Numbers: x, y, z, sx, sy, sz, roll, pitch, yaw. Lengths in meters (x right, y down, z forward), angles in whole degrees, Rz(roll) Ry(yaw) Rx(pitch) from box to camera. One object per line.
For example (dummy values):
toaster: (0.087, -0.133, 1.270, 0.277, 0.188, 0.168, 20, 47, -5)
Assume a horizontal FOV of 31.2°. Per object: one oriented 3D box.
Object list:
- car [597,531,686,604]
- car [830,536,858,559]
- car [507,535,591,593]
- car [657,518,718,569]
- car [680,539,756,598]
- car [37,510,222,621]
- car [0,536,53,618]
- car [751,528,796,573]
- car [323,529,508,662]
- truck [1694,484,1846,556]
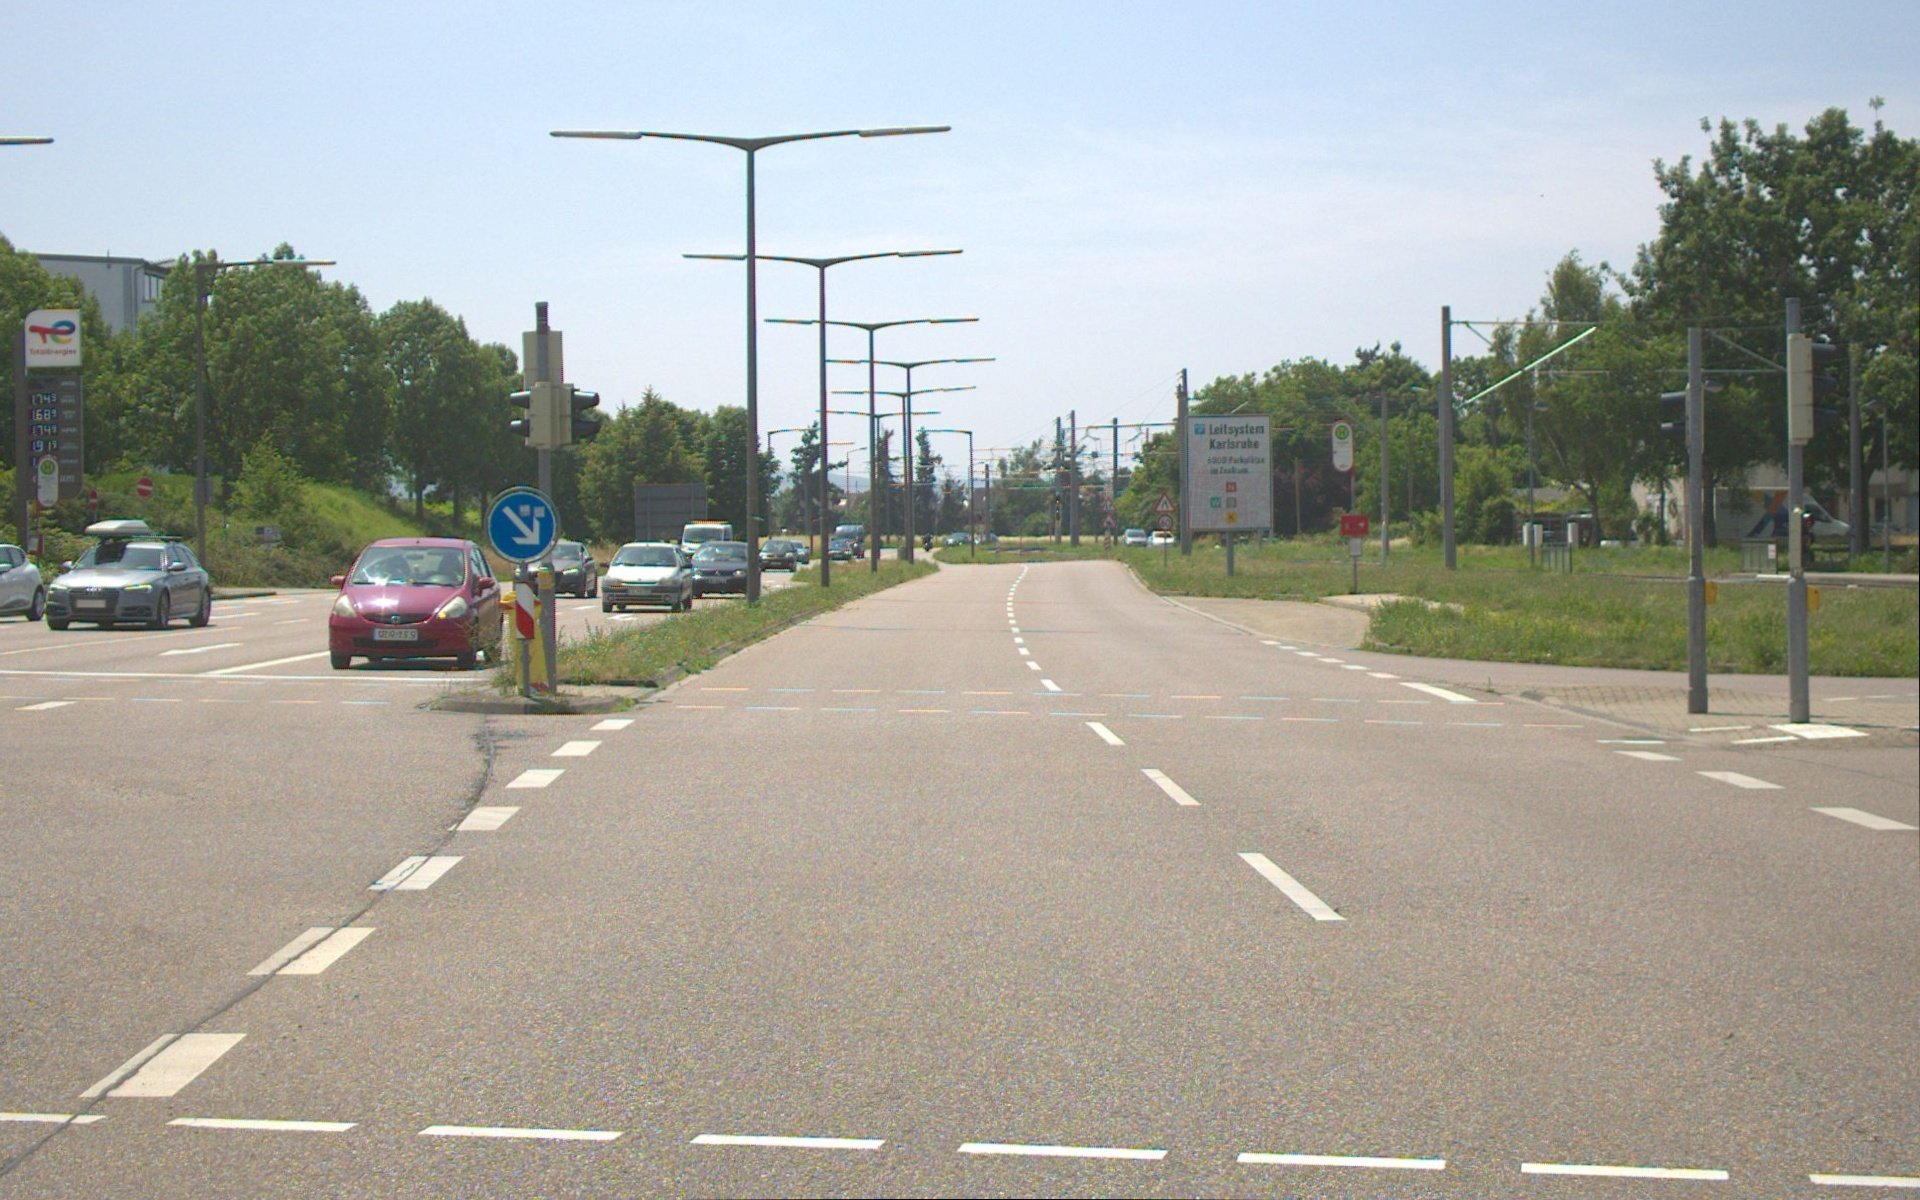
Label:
car: (-6.565, -0.691, 71.146, 1.560, 1.418, 3.854, 0, 2, -1)
car: (-7.633, -3.473, 226.408, 1.731, 1.453, 4.565, -1, 1, -1)
car: (-10.309, -0.925, 86.489, 1.637, 1.424, 4.052, 0, 1, 0)
car: (-12.638, -2.632, 159.731, 2.249, 2.265, 5.449, 1, 1, 1)
car: (-6.080, -0.807, 86.662, 1.675, 1.429, 4.191, 0, 1, -1)
car: (-13.710, -0.600, 57.036, 1.964, 1.744, 5.023, 0, 1, -1)
car: (-17.784, -0.418, 61.836, 1.823, 1.444, 3.827, 0, 1, 2)
car: (-8.569, -2.283, 158.034, 1.993, 2.007, 4.001, 1, 0, -4)
car: (-6.443, -0.093, 41.052, 1.658, 1.485, 4.000, 0, 1, -1)
truck: (34.765, -3.433, 147.640, 5.839, 2.833, 2.321, -2, 1, -7)
